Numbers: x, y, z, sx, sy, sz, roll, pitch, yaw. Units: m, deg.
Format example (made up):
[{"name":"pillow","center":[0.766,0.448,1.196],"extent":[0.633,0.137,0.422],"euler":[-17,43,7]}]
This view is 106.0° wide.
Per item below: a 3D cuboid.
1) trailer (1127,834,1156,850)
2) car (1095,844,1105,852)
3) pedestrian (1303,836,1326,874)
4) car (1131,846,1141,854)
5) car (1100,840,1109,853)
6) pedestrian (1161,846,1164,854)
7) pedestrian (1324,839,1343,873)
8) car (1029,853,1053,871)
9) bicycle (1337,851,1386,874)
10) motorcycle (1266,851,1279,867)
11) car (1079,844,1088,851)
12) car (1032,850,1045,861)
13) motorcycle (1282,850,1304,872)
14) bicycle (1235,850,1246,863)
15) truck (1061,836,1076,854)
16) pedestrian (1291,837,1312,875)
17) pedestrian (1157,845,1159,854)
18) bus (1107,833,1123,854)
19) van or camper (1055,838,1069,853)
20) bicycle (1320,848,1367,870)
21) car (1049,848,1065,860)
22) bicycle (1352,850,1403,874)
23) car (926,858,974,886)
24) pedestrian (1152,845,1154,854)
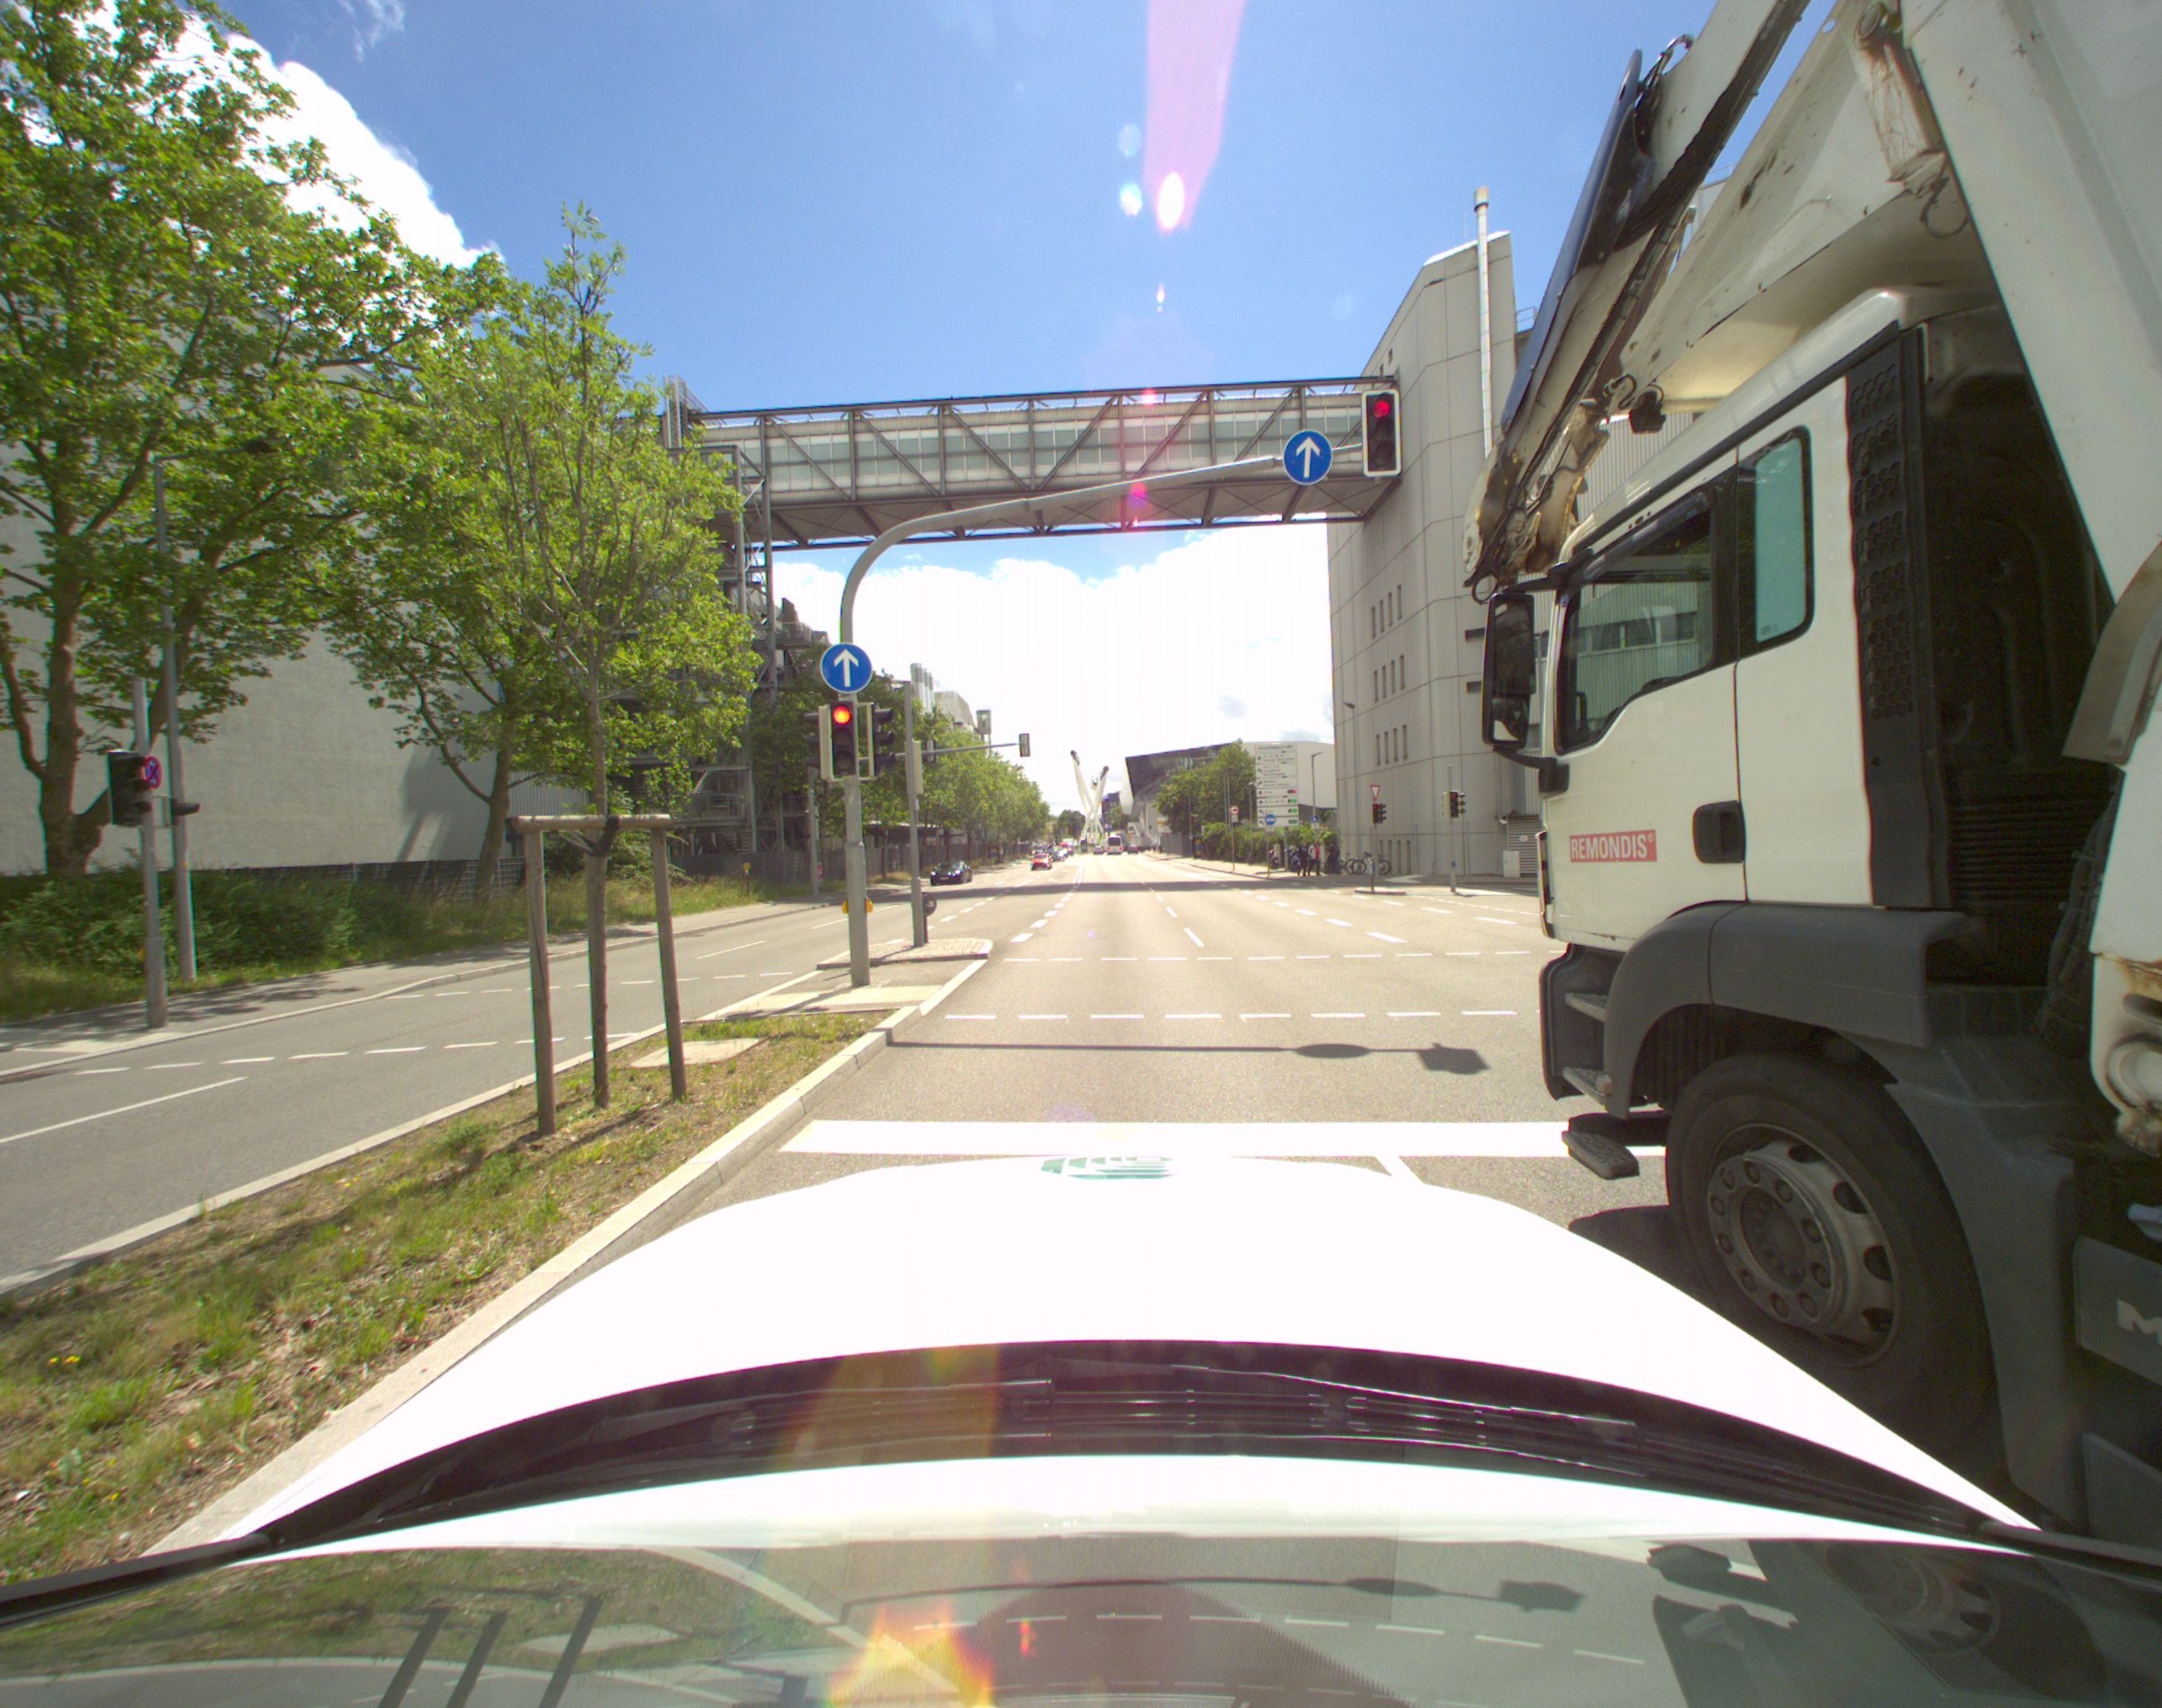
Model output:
[{"name":"trailer","center":[12.814,-2.454,172.135],"extent":[3.291,2.995,10.429],"euler":[-1,-1,21]},{"name":"car","center":[3.476,-1.058,148.870],"extent":[1.551,1.273,3.704],"euler":[-4,0,3]},{"name":"pedestrian","center":[11.450,0.069,39.927],"extent":[0.692,1.793,0.709],"euler":[-4,0,-14]},{"name":"car","center":[9.868,-0.689,146.255],"extent":[1.551,1.273,3.704],"euler":[-4,0,3]},{"name":"car","center":[4.875,-1.637,171.363],"extent":[1.837,2.624,4.000],"euler":[0,-1,1]},{"name":"pedestrian","center":[13.777,-0.691,137.316],"extent":[0.384,1.421,0.424],"euler":[0,-1,2]},{"name":"pedestrian","center":[12.319,0.105,39.726],"extent":[0.536,1.640,0.652],"euler":[0,-1,-31]},{"name":"car","center":[-3.629,0.712,74.070],"extent":[1.762,1.420,3.704],"euler":[-4,0,3]},{"name":"bicycle","center":[13.522,0.399,39.352],"extent":[2.196,1.086,0.480],"euler":[-1,-1,37]},{"name":"motorcycle","center":[12.179,0.333,51.864],"extent":[0.455,1.022,1.914],"euler":[0,-1,4]},{"name":"car","center":[0.542,-1.177,155.987],"extent":[1.551,1.273,3.704],"euler":[-4,0,3]},{"name":"car","center":[-6.482,0.269,125.187],"extent":[1.792,1.574,4.000],"euler":[-1,0,0]},{"name":"motorcycle","center":[11.655,0.394,44.887],"extent":[0.418,1.166,1.951],"euler":[0,-1,-9]},{"name":"bicycle","center":[12.731,0.169,65.122],"extent":[0.417,1.022,1.911],"euler":[0,-1,-2]},{"name":"truck","center":[-2.410,-1.772,160.229],"extent":[2.581,3.324,7.083],"euler":[0,-1,3]},{"name":"pedestrian","center":[10.776,0.110,39.796],"extent":[0.642,1.793,0.709],"euler":[-4,0,-14]},{"name":"pedestrian","center":[12.957,-0.787,136.768],"extent":[0.384,1.421,0.424],"euler":[0,-1,2]},{"name":"bus","center":[6.203,-1.906,148.441],"extent":[2.776,3.686,6.947],"euler":[0,-1,3]},{"name":"van or camper","center":[-3.319,-1.456,143.531],"extent":[2.038,2.466,5.598],"euler":[-1,0,3]},{"name":"bicycle","center":[13.089,0.275,40.697],"extent":[2.196,1.086,0.480],"euler":[-1,-1,37]},{"name":"car","center":[-3.159,0.008,106.485],"extent":[1.762,1.420,3.704],"euler":[-4,0,3]},{"name":"bicycle","center":[13.934,0.387,38.298],"extent":[2.166,1.086,0.480],"euler":[-1,-1,37]},{"name":"car","center":[-8.001,1.056,50.229],"extent":[1.910,1.488,4.775],"euler":[-4,0,3]},{"name":"pedestrian","center":[12.186,-0.756,137.735],"extent":[0.384,1.421,0.424],"euler":[0,-1,2]}]
